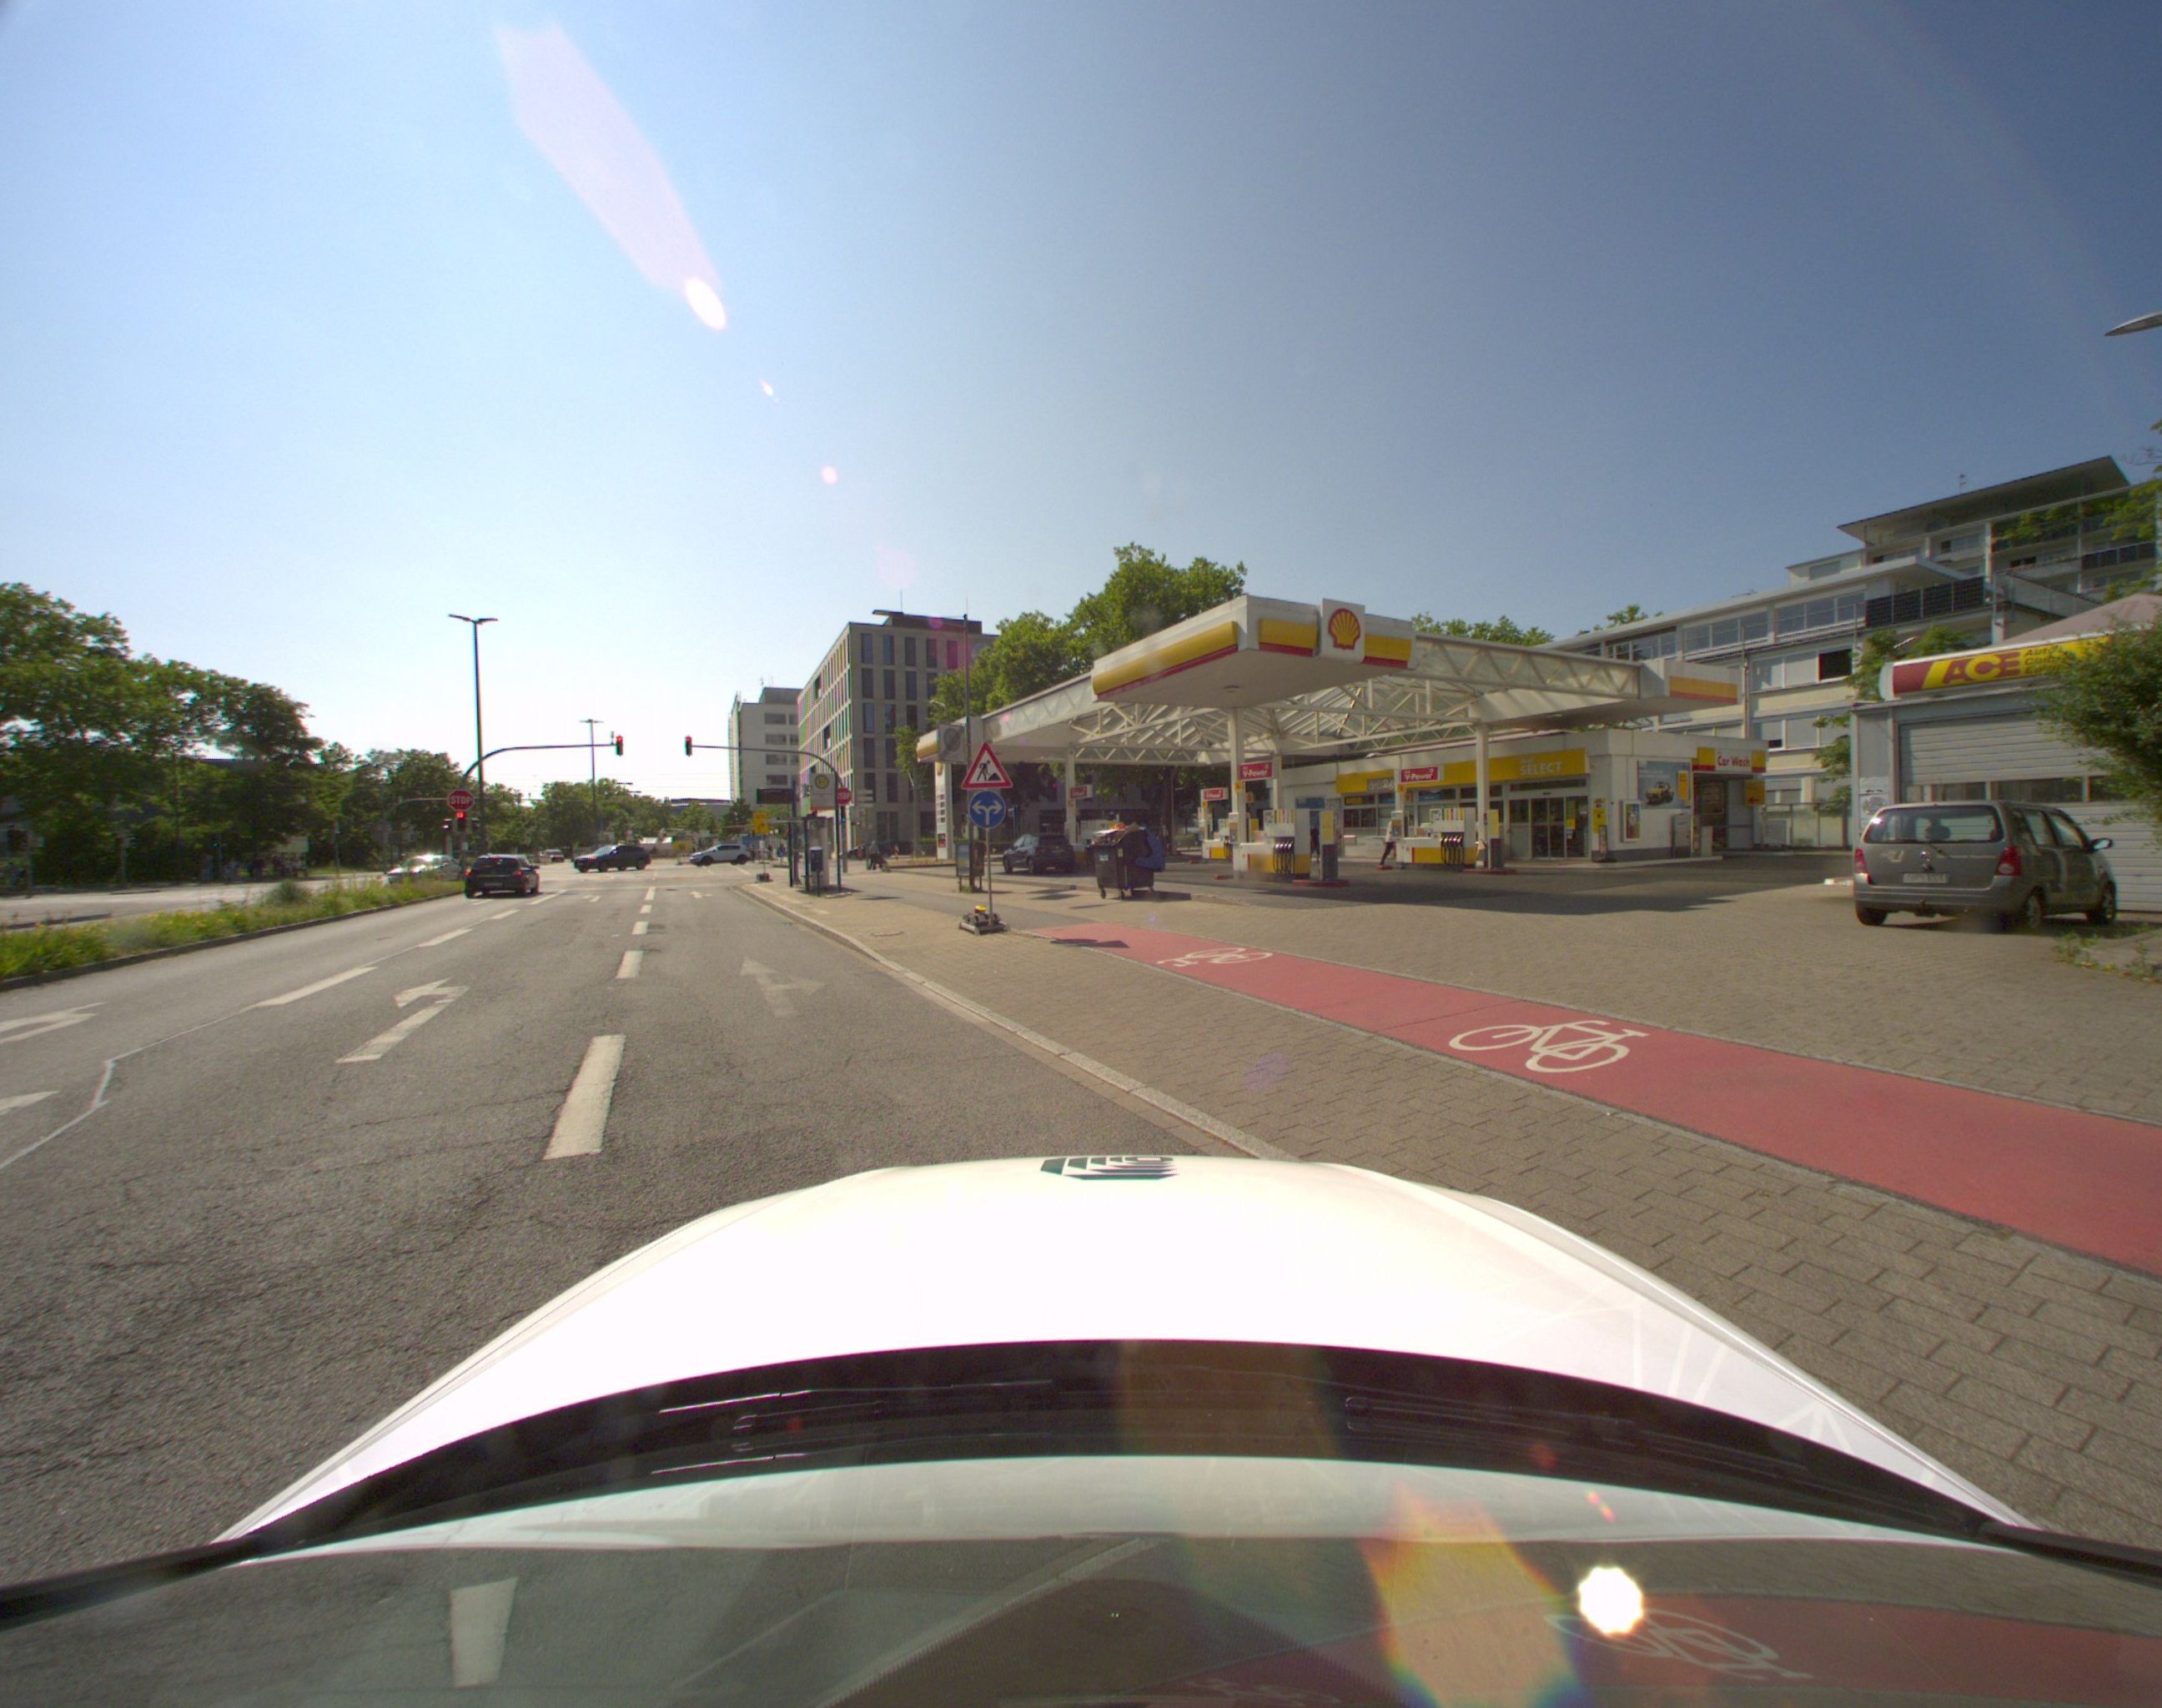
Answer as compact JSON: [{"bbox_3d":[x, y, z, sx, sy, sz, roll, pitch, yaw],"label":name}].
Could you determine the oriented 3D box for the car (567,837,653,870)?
[{"bbox_3d":[-31.644,-0.080,54.911,1.977,2.013,4.894,-1,1,19],"label":"car"}]

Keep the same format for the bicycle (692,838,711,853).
[{"bbox_3d":[-48.935,-1.103,104.963,2.096,1.961,0.822,-1,0,-22],"label":"bicycle"}]

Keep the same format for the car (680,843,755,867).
[{"bbox_3d":[-27.954,0.061,62.768,4.895,1.636,1.977,-2,1,-39],"label":"car"}]

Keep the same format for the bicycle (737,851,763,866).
[{"bbox_3d":[-30.839,0.414,75.941,2.236,1.285,0.521,-1,1,-19],"label":"bicycle"}]

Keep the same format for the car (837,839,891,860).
[{"bbox_3d":[-18.469,-0.382,69.354,4.134,1.638,1.982,-2,1,-28],"label":"car"}]

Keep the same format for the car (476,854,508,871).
[{"bbox_3d":[-55.108,0.775,76.174,1.760,1.509,3.916,-2,1,-45],"label":"car"}]

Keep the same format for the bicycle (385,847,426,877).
[{"bbox_3d":[-53.585,0.618,64.683,1.608,2.268,3.965,-2,1,-27],"label":"bicycle"}]

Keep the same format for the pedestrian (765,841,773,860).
[{"bbox_3d":[-29.688,-0.329,77.492,0.533,1.771,0.711,-2,1,-40],"label":"pedestrian"}]

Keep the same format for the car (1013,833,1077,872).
[{"bbox_3d":[-1.460,-0.069,31.907,1.654,1.398,3.621,-2,1,-17],"label":"car"}]

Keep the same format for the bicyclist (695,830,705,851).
[{"bbox_3d":[-49.037,-1.732,104.936,1.073,2.574,0.822,-1,0,-21],"label":"bicyclist"}]

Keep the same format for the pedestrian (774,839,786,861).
[{"bbox_3d":[-28.124,-0.401,76.167,0.775,2.013,0.777,-1,1,1],"label":"pedestrian"}]

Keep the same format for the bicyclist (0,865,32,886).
[{"bbox_3d":[-65.829,1.323,50.354,1.056,1.274,0.488,-2,1,-24],"label":"bicyclist"}]

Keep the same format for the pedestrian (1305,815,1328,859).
[{"bbox_3d":[9.937,-0.699,34.340,0.675,1.821,0.626,-2,1,-21],"label":"pedestrian"}]

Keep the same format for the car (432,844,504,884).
[{"bbox_3d":[-27.518,0.399,36.692,2.006,1.638,4.353,-2,1,-30],"label":"car"}]

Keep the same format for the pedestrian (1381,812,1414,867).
[{"bbox_3d":[10.941,-0.496,28.148,0.847,1.837,0.750,-1,1,41],"label":"pedestrian"}]

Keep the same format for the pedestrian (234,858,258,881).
[{"bbox_3d":[-58.214,1.073,56.771,0.653,1.611,0.940,-1,1,-4],"label":"pedestrian"}]

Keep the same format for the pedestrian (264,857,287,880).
[{"bbox_3d":[-57.228,1.031,57.872,0.665,1.611,0.940,-1,1,-4],"label":"pedestrian"}]

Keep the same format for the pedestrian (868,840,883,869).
[{"bbox_3d":[-11.092,0.000,43.981,0.622,1.543,0.457,-2,1,-28],"label":"pedestrian"}]

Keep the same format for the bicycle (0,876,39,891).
[{"bbox_3d":[-65.995,1.830,50.274,2.009,0.883,0.523,-2,1,-24],"label":"bicycle"}]

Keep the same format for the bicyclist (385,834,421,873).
[{"bbox_3d":[-53.244,-0.030,63.965,1.609,2.930,2.332,-2,1,-27],"label":"bicyclist"}]

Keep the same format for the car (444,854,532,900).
[{"bbox_3d":[-20.710,0.754,28.615,2.006,1.398,3.962,-2,1,-29],"label":"car"}]

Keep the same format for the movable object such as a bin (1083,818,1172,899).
[{"bbox_3d":[1.007,0.079,17.747,1.316,1.592,1.382,-5,2,-30],"label":"movable object such as a bin"}]

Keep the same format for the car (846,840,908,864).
[{"bbox_3d":[-14.752,-0.184,58.938,4.011,1.581,1.827,-2,1,-29],"label":"car"}]

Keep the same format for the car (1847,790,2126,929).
[{"bbox_3d":[12.175,0.009,10.920,3.842,1.596,1.576,-2,1,-27],"label":"car"}]

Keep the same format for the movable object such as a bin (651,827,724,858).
[{"bbox_3d":[-59.402,-1.770,123.049,9.725,4.549,3.137,-2,1,-26],"label":"movable object such as a bin"}]

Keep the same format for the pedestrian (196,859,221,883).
[{"bbox_3d":[-59.505,1.132,55.524,0.653,1.611,0.940,-1,1,-4],"label":"pedestrian"}]

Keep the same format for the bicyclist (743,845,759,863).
[{"bbox_3d":[-30.776,-0.017,75.965,1.243,1.673,0.521,-1,1,-19],"label":"bicyclist"}]

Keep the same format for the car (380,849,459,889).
[{"bbox_3d":[-29.985,0.628,37.071,1.901,1.610,4.477,-2,1,-28],"label":"car"}]

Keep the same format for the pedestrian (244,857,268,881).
[{"bbox_3d":[-57.164,1.048,56.455,0.653,1.611,0.940,-1,1,-4],"label":"pedestrian"}]

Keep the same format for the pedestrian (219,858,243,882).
[{"bbox_3d":[-58.872,1.097,56.436,0.653,1.611,0.940,-1,1,-4],"label":"pedestrian"}]
